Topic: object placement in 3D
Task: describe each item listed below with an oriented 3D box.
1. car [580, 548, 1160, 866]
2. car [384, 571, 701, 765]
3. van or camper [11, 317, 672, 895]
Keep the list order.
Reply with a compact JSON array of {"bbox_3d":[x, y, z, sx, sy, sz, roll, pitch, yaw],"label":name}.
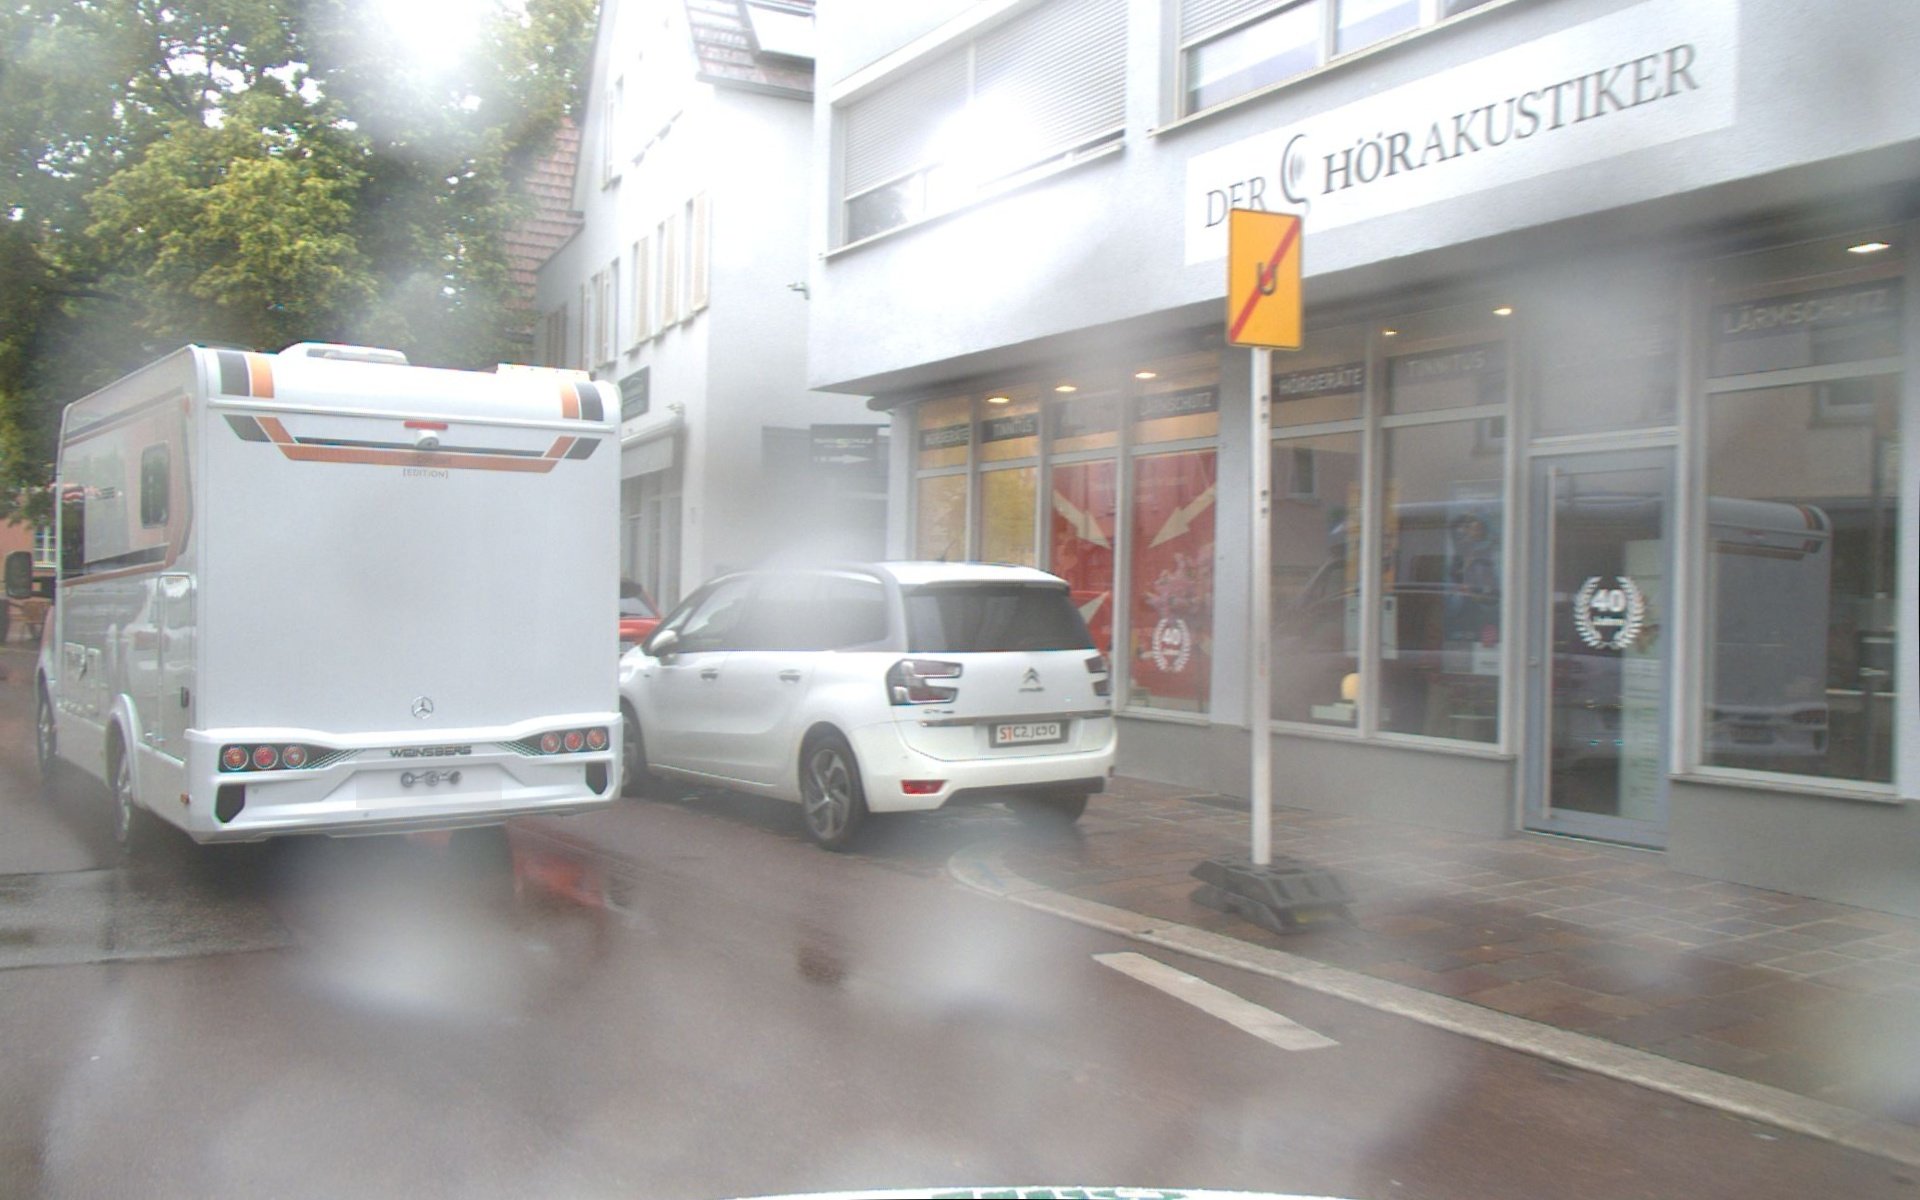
[{"bbox_3d":[-0.820,0.551,10.978,1.762,1.659,4.413,1,0,-36],"label":"car"},{"bbox_3d":[-3.966,0.517,15.292,1.663,1.555,3.753,0,1,-34],"label":"car"},{"bbox_3d":[-4.497,-0.002,10.969,2.418,2.631,6.666,1,0,-36],"label":"van or camper"}]
